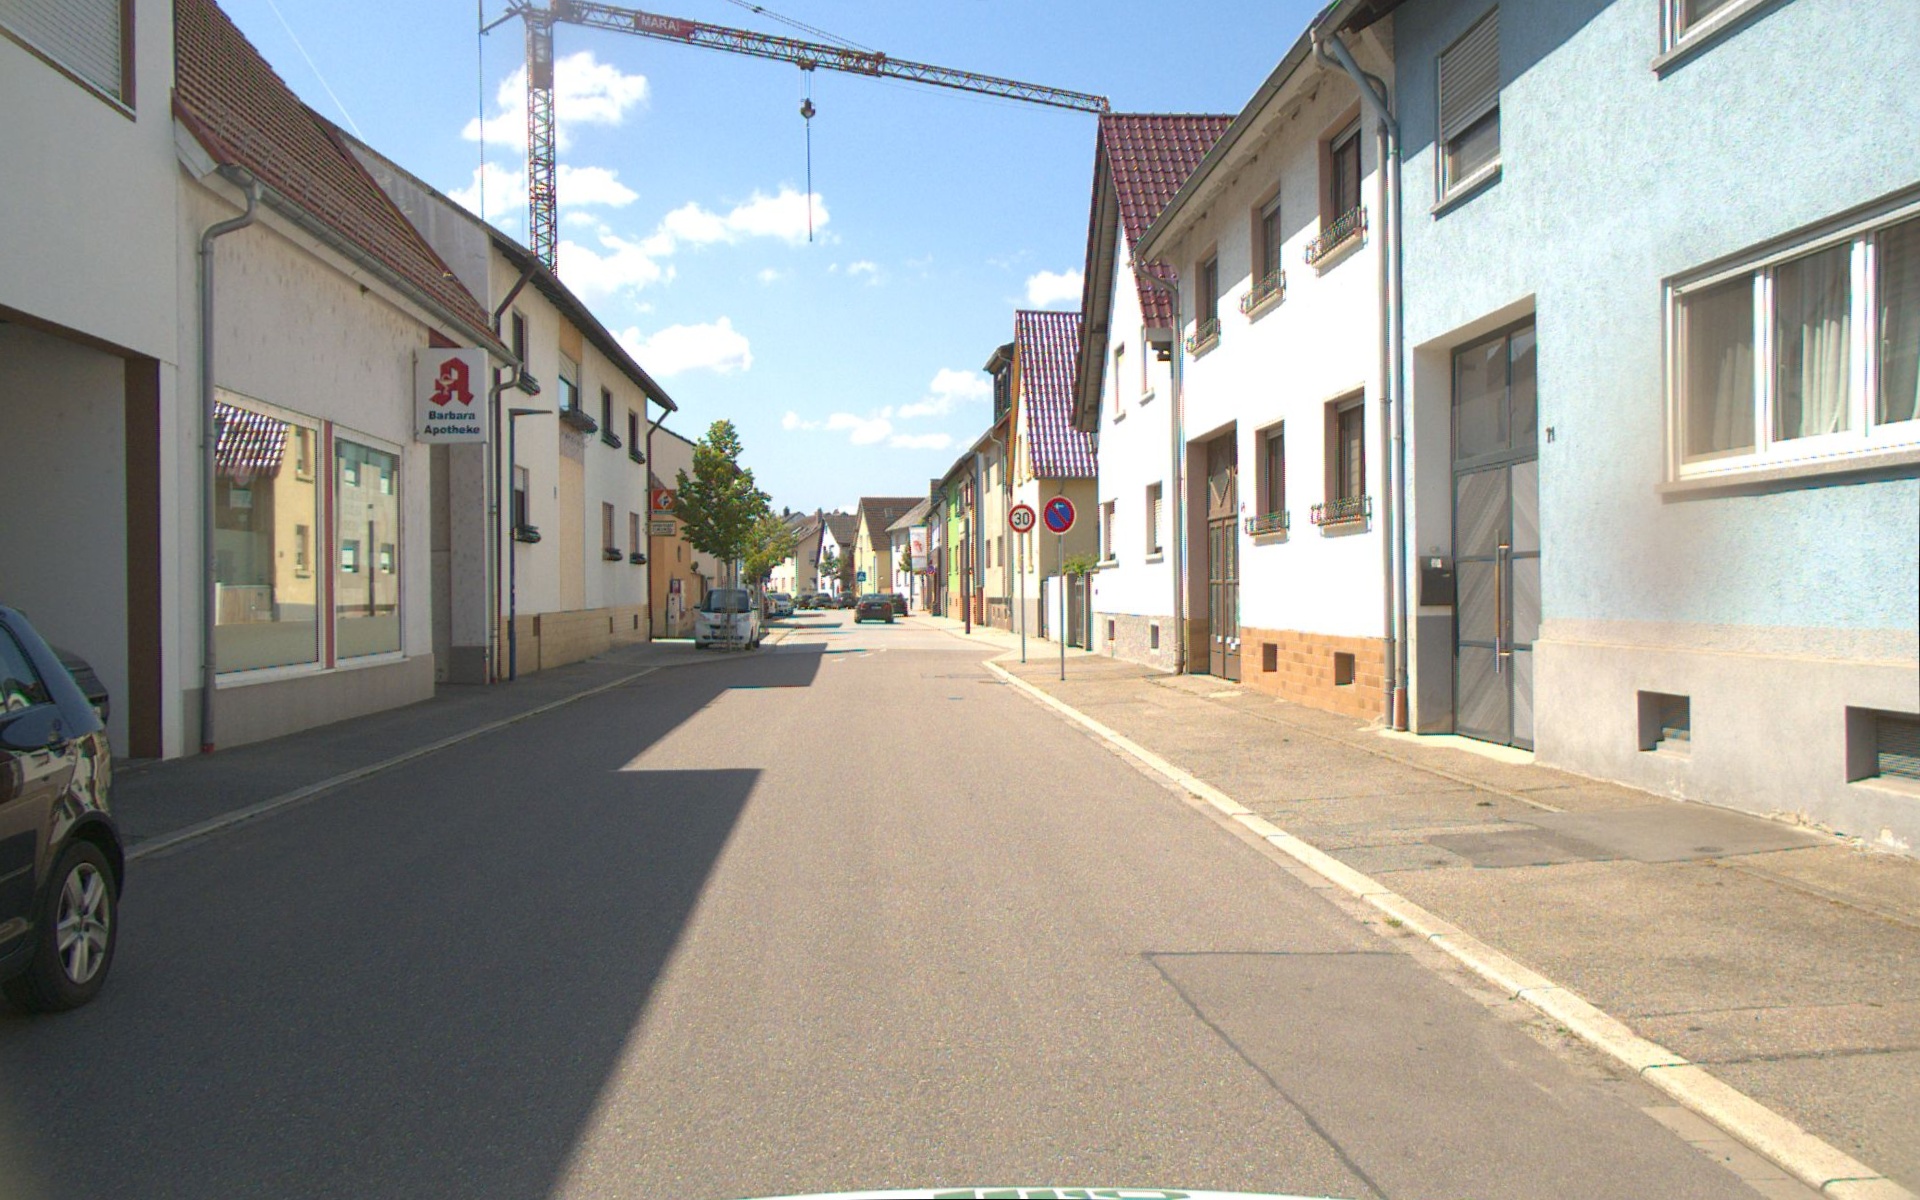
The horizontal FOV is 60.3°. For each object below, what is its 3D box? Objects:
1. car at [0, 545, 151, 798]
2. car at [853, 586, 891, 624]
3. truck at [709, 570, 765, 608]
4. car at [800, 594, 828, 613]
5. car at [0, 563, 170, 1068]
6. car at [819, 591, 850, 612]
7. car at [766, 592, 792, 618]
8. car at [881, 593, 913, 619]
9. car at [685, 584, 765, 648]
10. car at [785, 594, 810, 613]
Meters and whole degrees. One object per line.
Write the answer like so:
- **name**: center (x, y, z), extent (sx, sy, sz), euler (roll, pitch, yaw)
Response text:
- **car**: center (-8.644, 0.524, 12.441), extent (4.158, 1.779, 1.879), euler (-1, 0, -4)
- **car**: center (-4.410, 0.248, 82.222), extent (1.748, 1.784, 3.996), euler (-1, 0, -4)
- **truck**: center (-24.698, -1.162, 182.670), extent (3.329, 3.933, 13.846), euler (-1, 0, -19)
- **car**: center (-14.126, 0.370, 159.905), extent (1.794, 1.784, 4.205), euler (-1, 0, -19)
- **car**: center (-3.882, 0.710, 4.614), extent (1.621, 1.637, 4.058), euler (-1, 0, -4)
- **car**: center (-11.411, 0.157, 150.394), extent (1.756, 1.784, 4.204), euler (-1, 0, -20)
- **car**: center (-12.317, 0.336, 112.476), extent (1.702, 1.716, 4.225), euler (1, 0, -7)
- **car**: center (-3.999, 0.359, 103.986), extent (1.748, 1.591, 4.332), euler (-1, 0, -5)
- **car**: center (-6.143, 0.385, 43.645), extent (1.689, 1.583, 4.170), euler (1, 0, -3)
- **car**: center (-16.465, 0.352, 167.470), extent (1.791, 1.784, 4.210), euler (-1, 0, -16)
